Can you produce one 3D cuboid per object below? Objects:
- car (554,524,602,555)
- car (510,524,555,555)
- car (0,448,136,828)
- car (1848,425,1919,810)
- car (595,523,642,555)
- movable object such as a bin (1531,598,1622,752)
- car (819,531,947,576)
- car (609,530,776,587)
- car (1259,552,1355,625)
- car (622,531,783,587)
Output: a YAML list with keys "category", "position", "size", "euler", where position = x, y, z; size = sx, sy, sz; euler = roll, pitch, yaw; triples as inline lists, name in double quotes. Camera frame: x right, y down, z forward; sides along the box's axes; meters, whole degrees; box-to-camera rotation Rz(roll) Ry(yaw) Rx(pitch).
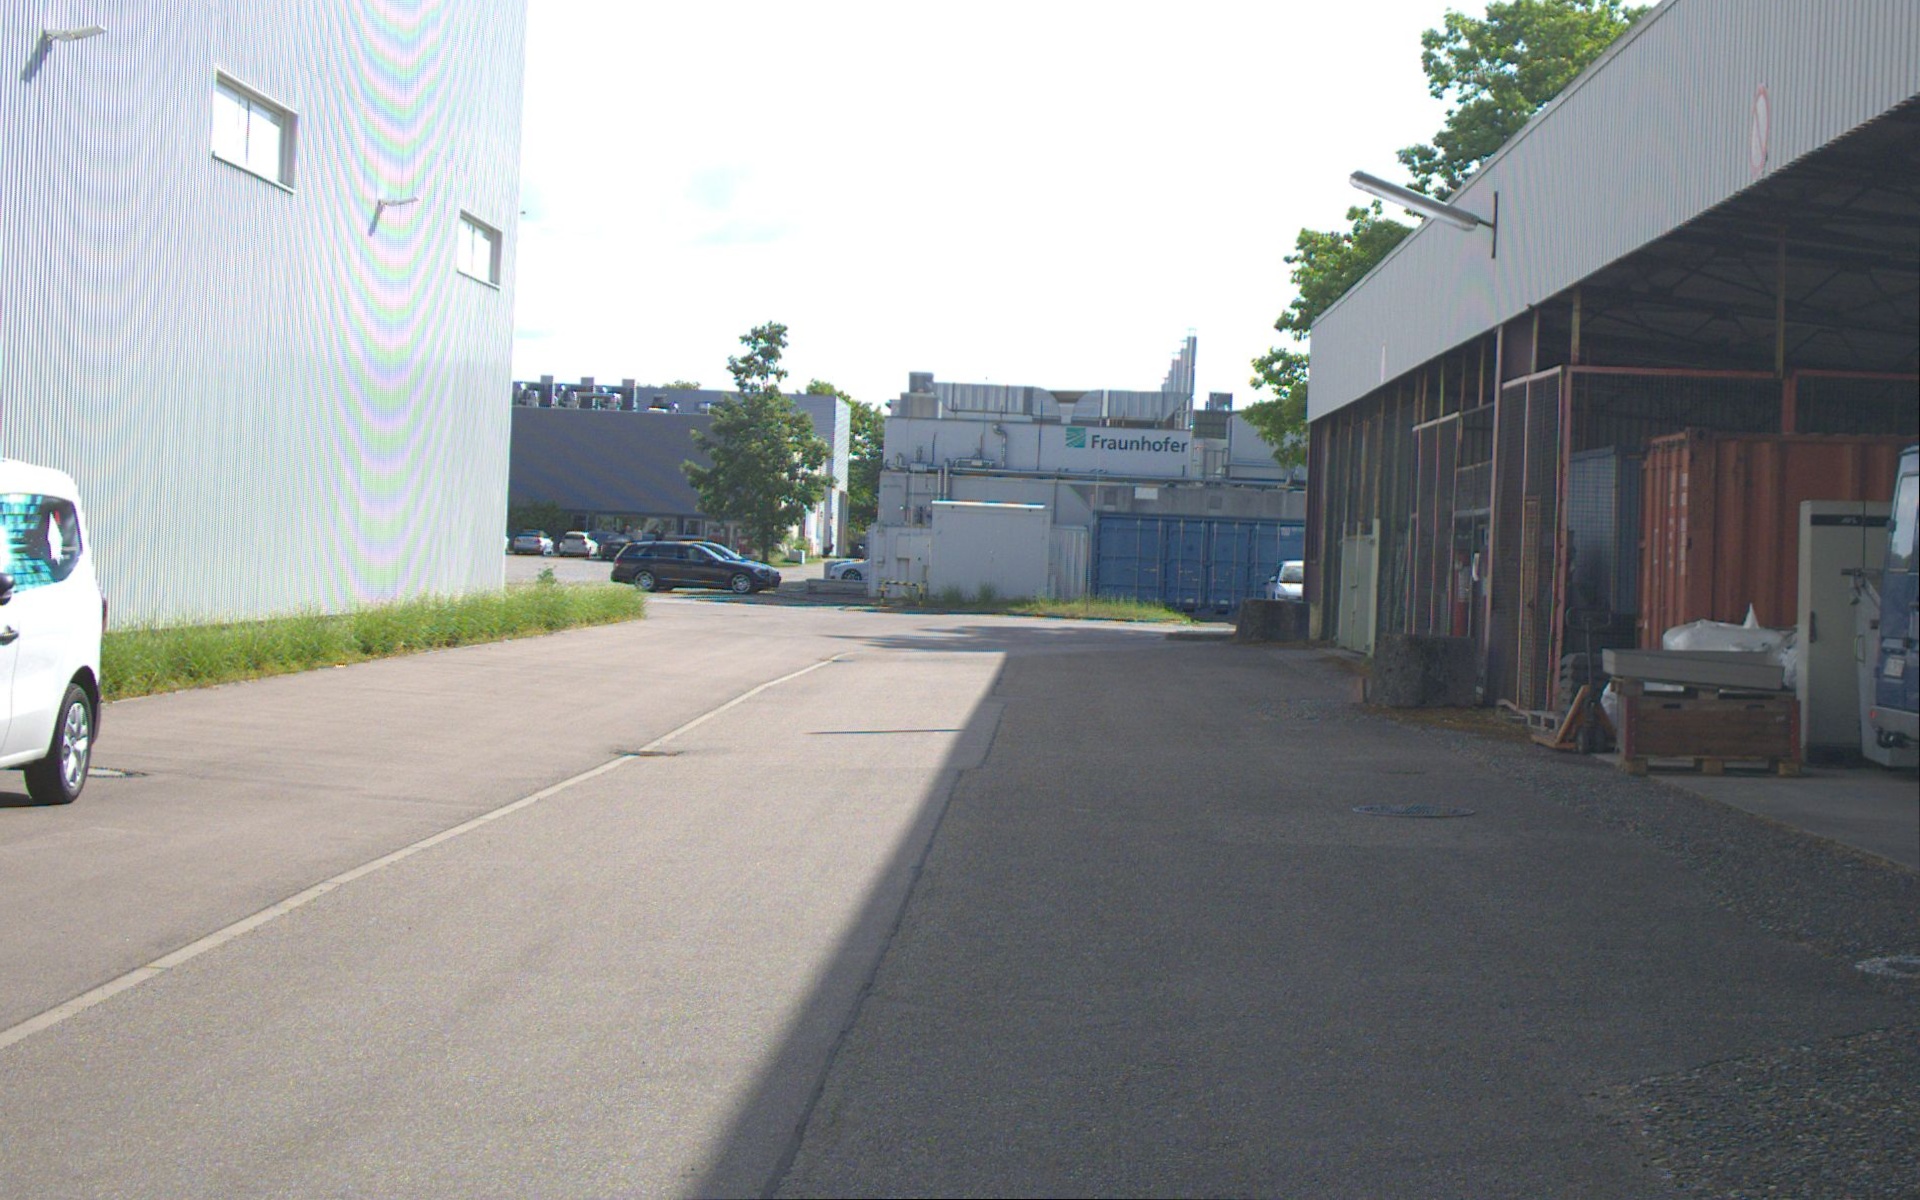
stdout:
- category: "car"
  position: [-21.826, -3.456, 196.532]
  size: [2.193, 1.730, 4.000]
  euler: [1, 0, 1]
- category: "car"
  position: [-24.420, -3.451, 196.269]
  size: [1.993, 1.730, 4.000]
  euler: [1, 0, 1]
- category: "car"
  position: [-5.554, 0.122, 16.650]
  size: [1.890, 1.839, 4.358]
  euler: [4, 1, 1]
- category: "car"
  position: [8.313, 0.167, 21.451]
  size: [4.979, 2.317, 2.000]
  euler: [2, 1, 2]
- category: "car"
  position: [-19.314, -3.445, 194.741]
  size: [2.193, 1.730, 4.000]
  euler: [1, 0, 1]
- category: "movable object such as a bin"
  position: [4.877, 0.583, 27.247]
  size: [0.582, 1.160, 1.238]
  euler: [1, 1, 6]
- category: "car"
  position: [-2.814, -1.705, 126.383]
  size: [4.526, 1.503, 1.909]
  euler: [2, 1, 3]
- category: "car"
  position: [-7.684, -1.194, 98.928]
  size: [4.526, 1.503, 1.909]
  euler: [2, 1, 4]
- category: "car"
  position: [8.613, -0.303, 85.664]
  size: [1.993, 1.580, 4.173]
  euler: [2, 2, 1]
- category: "car"
  position: [-7.634, -1.222, 102.166]
  size: [4.526, 1.503, 1.909]
  euler: [2, 1, 4]
